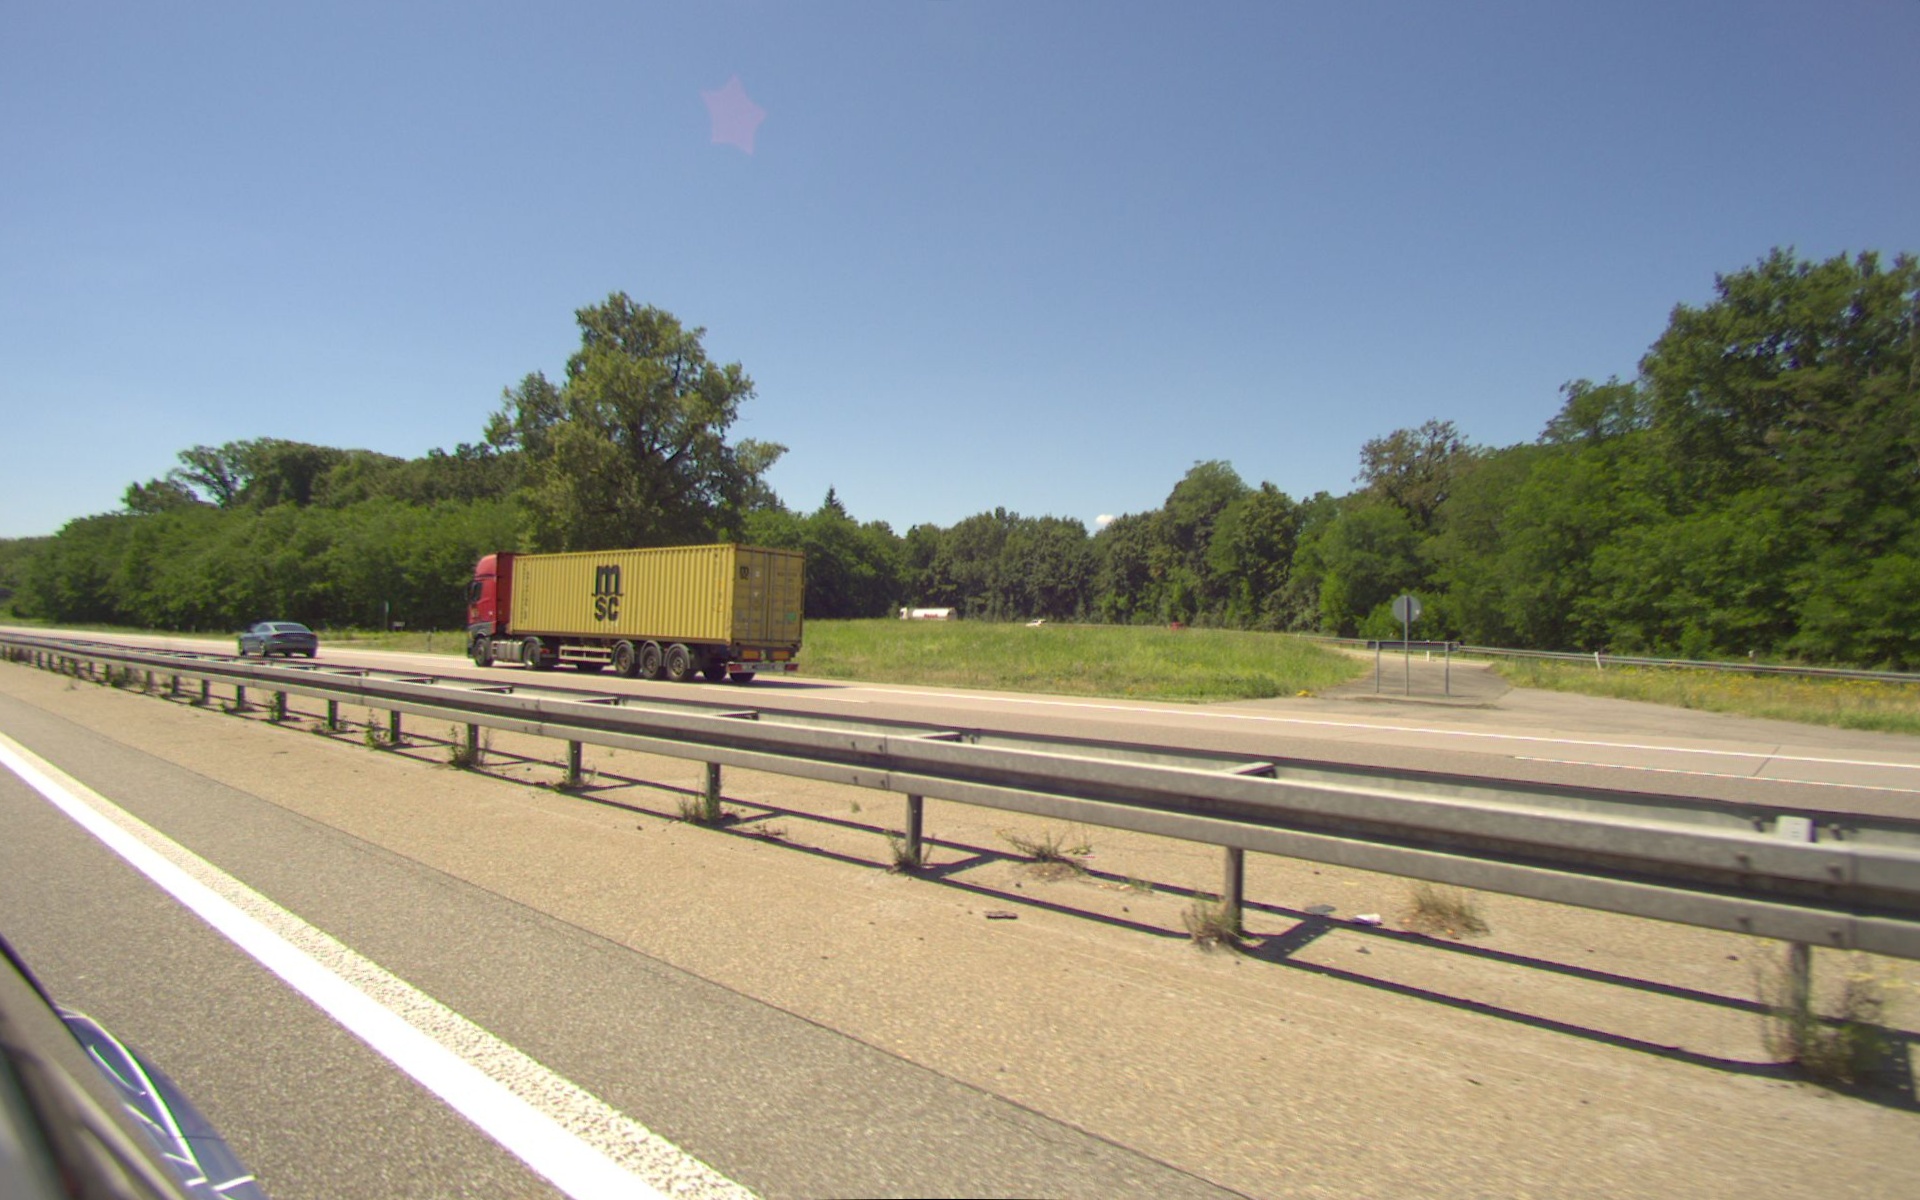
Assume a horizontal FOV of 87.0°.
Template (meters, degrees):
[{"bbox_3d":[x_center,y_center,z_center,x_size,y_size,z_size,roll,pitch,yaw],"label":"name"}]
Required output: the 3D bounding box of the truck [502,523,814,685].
[{"bbox_3d":[-9.616,0.243,30.605,12.686,4.078,2.572,-1,-4,41],"label":"truck"}]

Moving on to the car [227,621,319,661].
[{"bbox_3d":[-27.451,1.617,40.395,4.782,1.391,1.703,0,-5,40],"label":"car"}]

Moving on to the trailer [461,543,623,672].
[{"bbox_3d":[-14.409,0.340,34.722,6.026,4.022,2.576,-1,-4,41],"label":"trailer"}]

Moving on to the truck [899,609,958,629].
[{"bbox_3d":[-5.685,3.263,177.170,2.662,3.307,14.817,-1,0,-35],"label":"truck"}]
